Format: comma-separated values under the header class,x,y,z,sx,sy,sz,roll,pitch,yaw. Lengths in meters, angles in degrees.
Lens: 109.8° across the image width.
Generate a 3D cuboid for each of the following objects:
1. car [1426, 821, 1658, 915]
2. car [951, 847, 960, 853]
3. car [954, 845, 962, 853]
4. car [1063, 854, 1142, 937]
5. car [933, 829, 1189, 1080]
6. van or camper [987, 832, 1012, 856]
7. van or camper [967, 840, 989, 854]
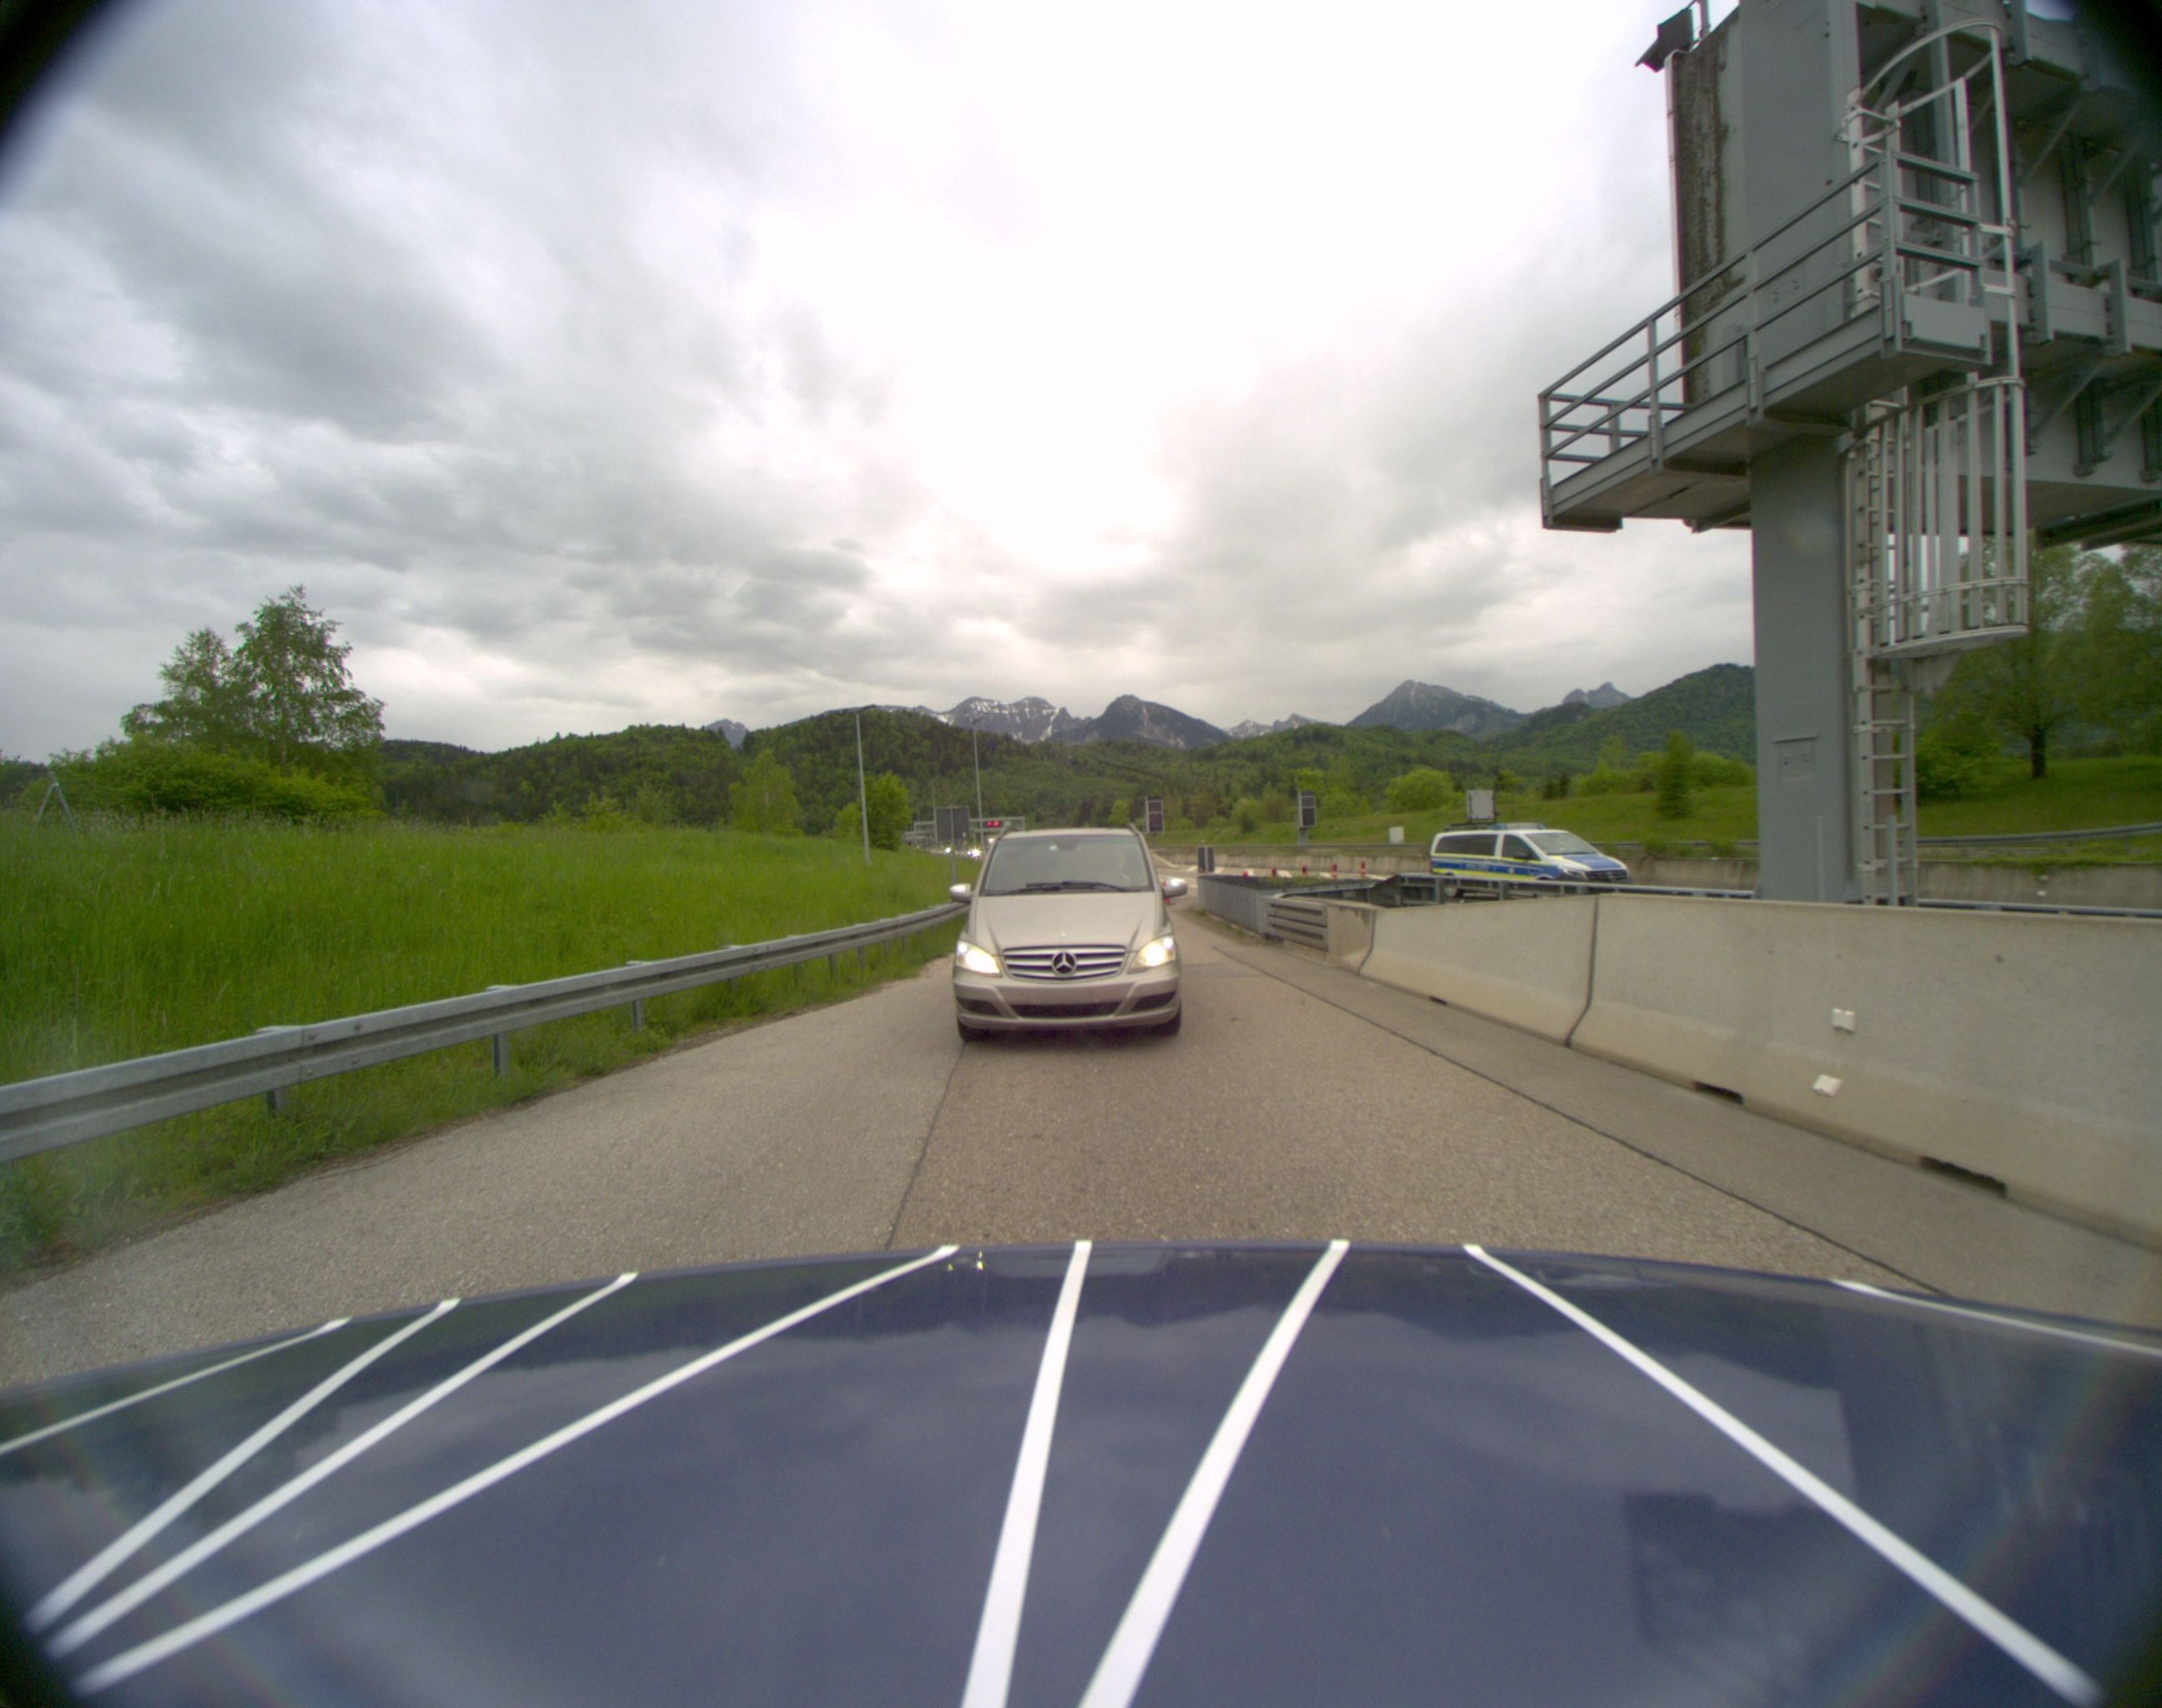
class,x,y,z,sx,sy,sz,roll,pitch,yaw
car,11.319,0.278,19.215,2.106,2.002,5.045,-2,1,-13
car,-32.204,-1.001,194.971,1.722,1.629,4.342,-1,1,-14
car,-31.475,-1.336,194.247,1.868,1.861,3.995,-1,1,-11
car,0.489,0.844,17.605,1.591,1.662,4.000,-1,0,1
car,-0.113,0.709,8.419,1.862,1.833,5.616,-1,1,1
van or camper,-12.376,-1.526,114.836,2.585,3.372,7.345,-2,1,-14
van or camper,-19.833,-1.380,145.586,3.345,2.629,8.190,-1,1,-13
